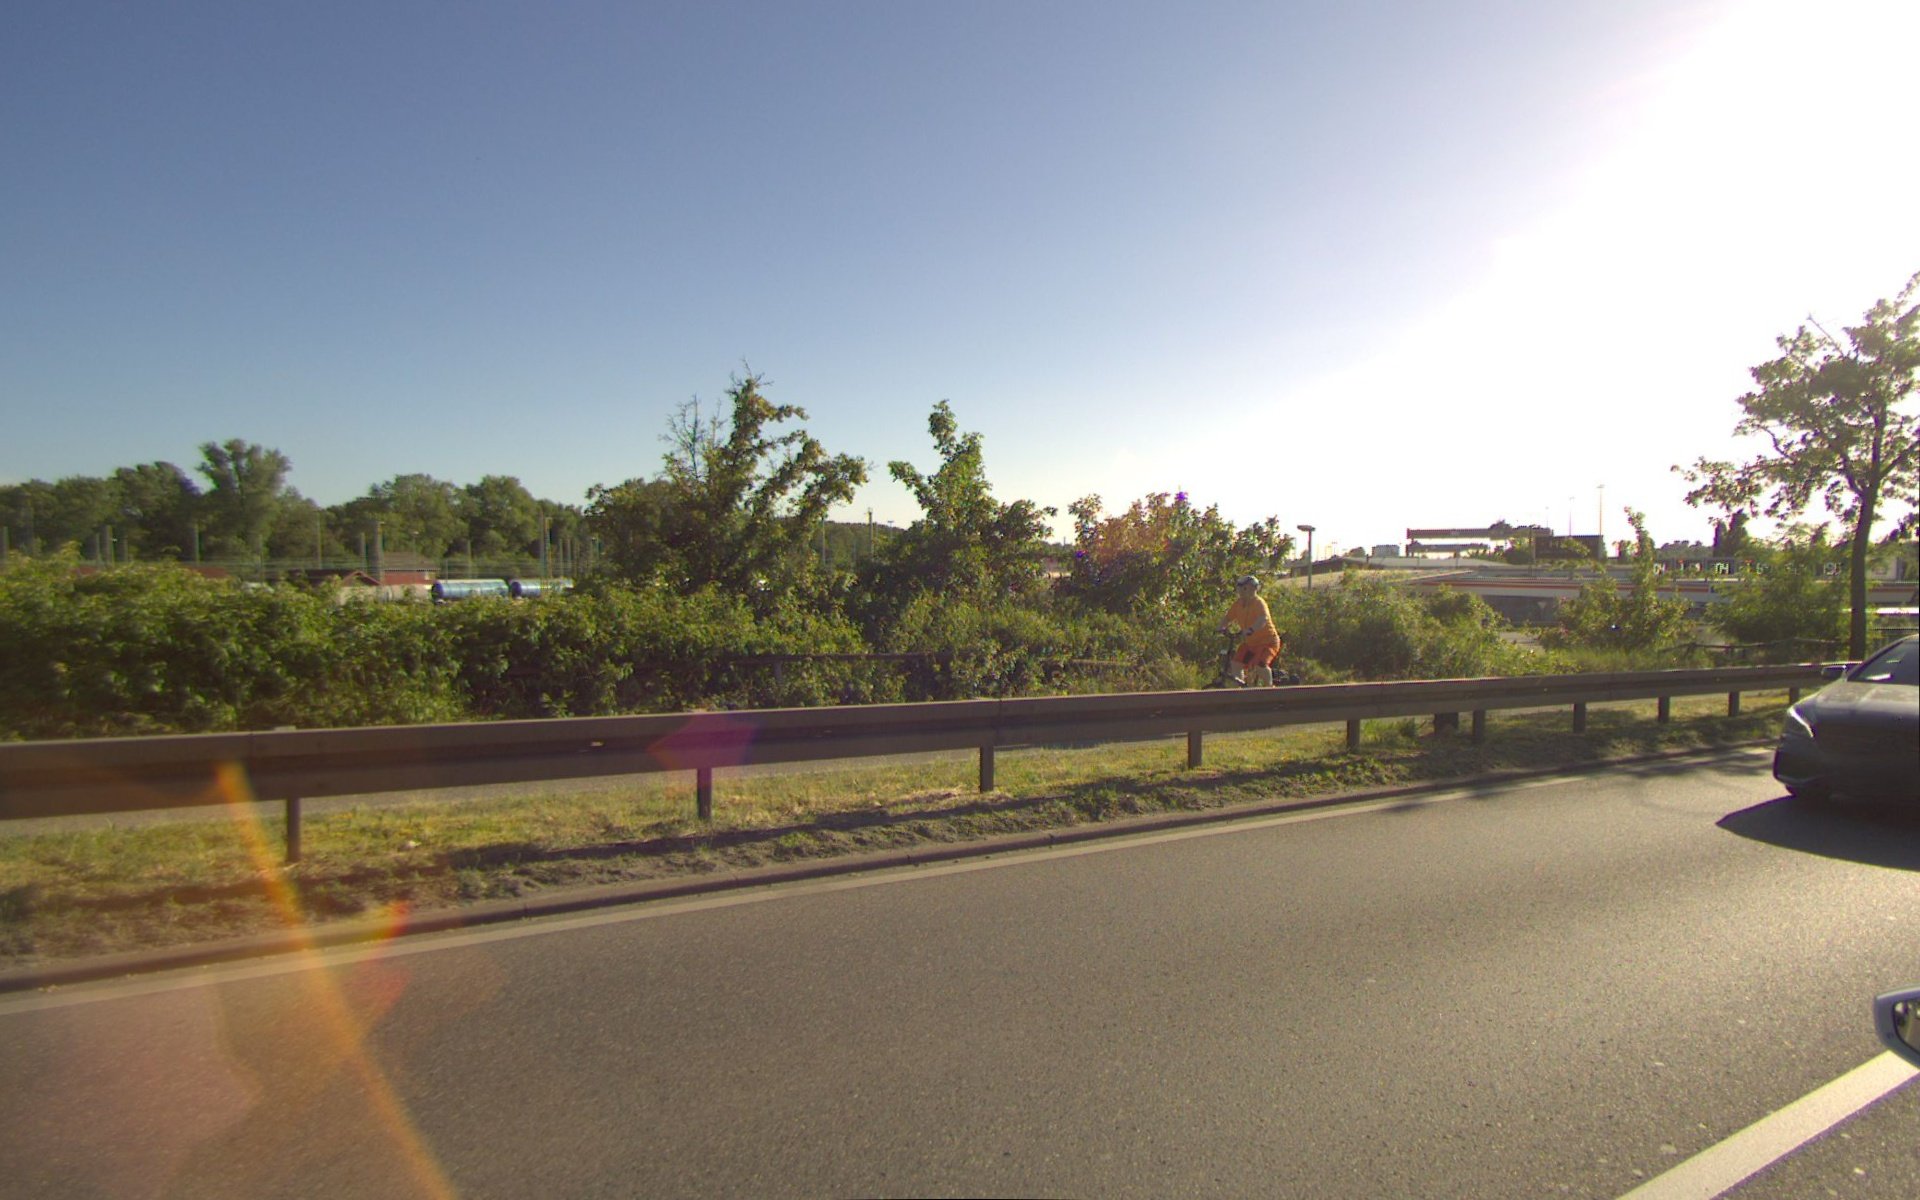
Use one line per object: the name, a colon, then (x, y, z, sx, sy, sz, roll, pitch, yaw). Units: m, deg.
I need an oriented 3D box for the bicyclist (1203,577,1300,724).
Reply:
bicyclist: (3.414, 0.574, 11.767, 0.864, 1.645, 0.648, 1, 0, -31)

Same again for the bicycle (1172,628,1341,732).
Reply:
bicycle: (3.519, 0.905, 11.841, 2.084, 1.110, 0.657, 1, 0, -31)

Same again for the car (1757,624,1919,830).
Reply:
car: (8.680, 0.971, 8.407, 4.165, 1.460, 1.684, 1, 0, -29)
